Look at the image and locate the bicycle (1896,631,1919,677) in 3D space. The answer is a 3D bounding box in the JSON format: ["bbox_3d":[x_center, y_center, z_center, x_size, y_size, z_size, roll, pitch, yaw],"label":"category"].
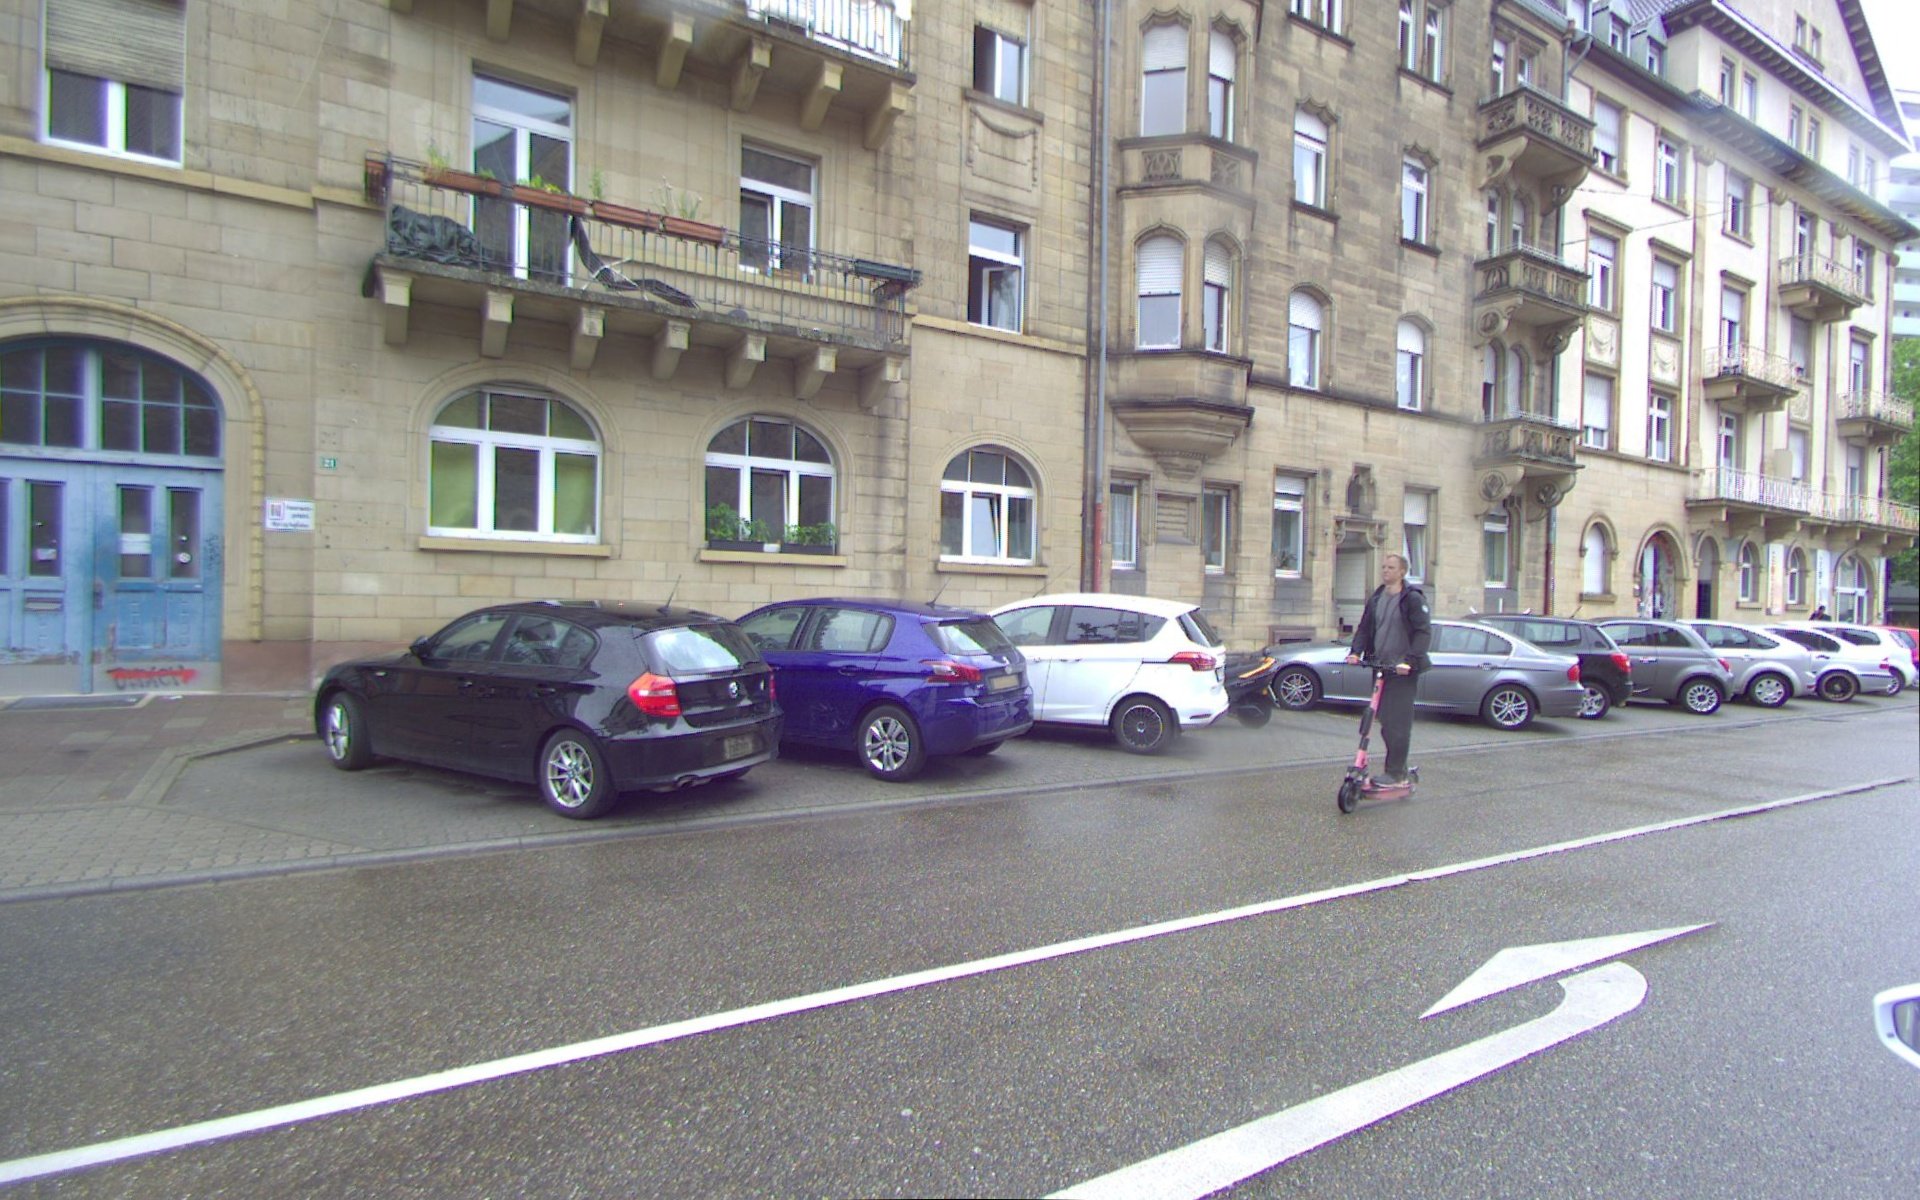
[{"bbox_3d":[27.137,1.512,27.755,0.601,1.283,1.754,1,0,-31],"label":"bicycle"}]

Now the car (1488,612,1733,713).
[{"bbox_3d":[11.316,1.037,17.729,3.337,1.578,1.652,1,0,21],"label":"car"}]

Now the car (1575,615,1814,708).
[{"bbox_3d":[13.881,1.112,19.218,3.337,1.578,1.705,1,0,21],"label":"car"}]

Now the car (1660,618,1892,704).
[{"bbox_3d":[16.709,1.200,20.766,3.337,1.578,1.705,1,0,21],"label":"car"}]

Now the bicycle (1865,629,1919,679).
[{"bbox_3d":[25.476,1.446,26.866,0.492,1.283,1.801,1,0,-31],"label":"bicycle"}]

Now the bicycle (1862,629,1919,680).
[{"bbox_3d":[24.958,1.425,26.408,0.492,1.283,1.801,1,0,-31],"label":"bicycle"}]

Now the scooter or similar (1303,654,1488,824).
[{"bbox_3d":[3.448,1.040,7.932,1.370,1.181,0.697,1,-1,-33],"label":"scooter or similar"}]

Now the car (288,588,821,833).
[{"bbox_3d":[-3.277,0.700,8.054,3.969,1.532,1.796,1,-1,27],"label":"car"}]

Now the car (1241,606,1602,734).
[{"bbox_3d":[6.385,0.919,14.425,4.457,1.565,1.689,1,0,17],"label":"car"}]

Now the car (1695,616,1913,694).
[{"bbox_3d":[18.819,1.179,22.583,3.337,1.578,1.705,1,0,21],"label":"car"}]

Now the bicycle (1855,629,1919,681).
[{"bbox_3d":[24.502,1.422,26.116,0.516,1.283,1.754,1,0,-31],"label":"bicycle"}]

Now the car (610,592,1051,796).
[{"bbox_3d":[-1.308,0.746,9.710,3.973,1.594,1.795,1,-1,31],"label":"car"}]

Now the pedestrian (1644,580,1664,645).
[{"bbox_3d":[20.040,0.363,28.996,0.343,1.847,0.364,2,-1,-32],"label":"pedestrian"}]

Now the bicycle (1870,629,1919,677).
[{"bbox_3d":[26.243,1.449,27.582,0.601,1.283,1.754,1,0,-31],"label":"bicycle"}]

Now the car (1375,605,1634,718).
[{"bbox_3d":[8.658,0.927,16.291,3.484,1.619,1.605,1,0,21],"label":"car"}]

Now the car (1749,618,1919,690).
[{"bbox_3d":[21.321,1.261,24.115,3.337,1.578,1.705,1,0,21],"label":"car"}]

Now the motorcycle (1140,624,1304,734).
[{"bbox_3d":[3.231,0.940,12.427,1.837,1.177,0.633,3,1,24],"label":"motorcycle"}]

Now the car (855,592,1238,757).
[{"bbox_3d":[1.008,0.736,11.304,3.964,1.576,1.799,1,-1,20],"label":"car"}]

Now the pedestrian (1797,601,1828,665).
[{"bbox_3d":[27.705,1.077,32.651,0.647,2.040,0.565,1,0,-30],"label":"pedestrian"}]

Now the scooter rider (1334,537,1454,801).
[{"bbox_3d":[3.404,0.521,7.903,0.498,1.961,0.707,1,-1,-32],"label":"scooter rider"}]
